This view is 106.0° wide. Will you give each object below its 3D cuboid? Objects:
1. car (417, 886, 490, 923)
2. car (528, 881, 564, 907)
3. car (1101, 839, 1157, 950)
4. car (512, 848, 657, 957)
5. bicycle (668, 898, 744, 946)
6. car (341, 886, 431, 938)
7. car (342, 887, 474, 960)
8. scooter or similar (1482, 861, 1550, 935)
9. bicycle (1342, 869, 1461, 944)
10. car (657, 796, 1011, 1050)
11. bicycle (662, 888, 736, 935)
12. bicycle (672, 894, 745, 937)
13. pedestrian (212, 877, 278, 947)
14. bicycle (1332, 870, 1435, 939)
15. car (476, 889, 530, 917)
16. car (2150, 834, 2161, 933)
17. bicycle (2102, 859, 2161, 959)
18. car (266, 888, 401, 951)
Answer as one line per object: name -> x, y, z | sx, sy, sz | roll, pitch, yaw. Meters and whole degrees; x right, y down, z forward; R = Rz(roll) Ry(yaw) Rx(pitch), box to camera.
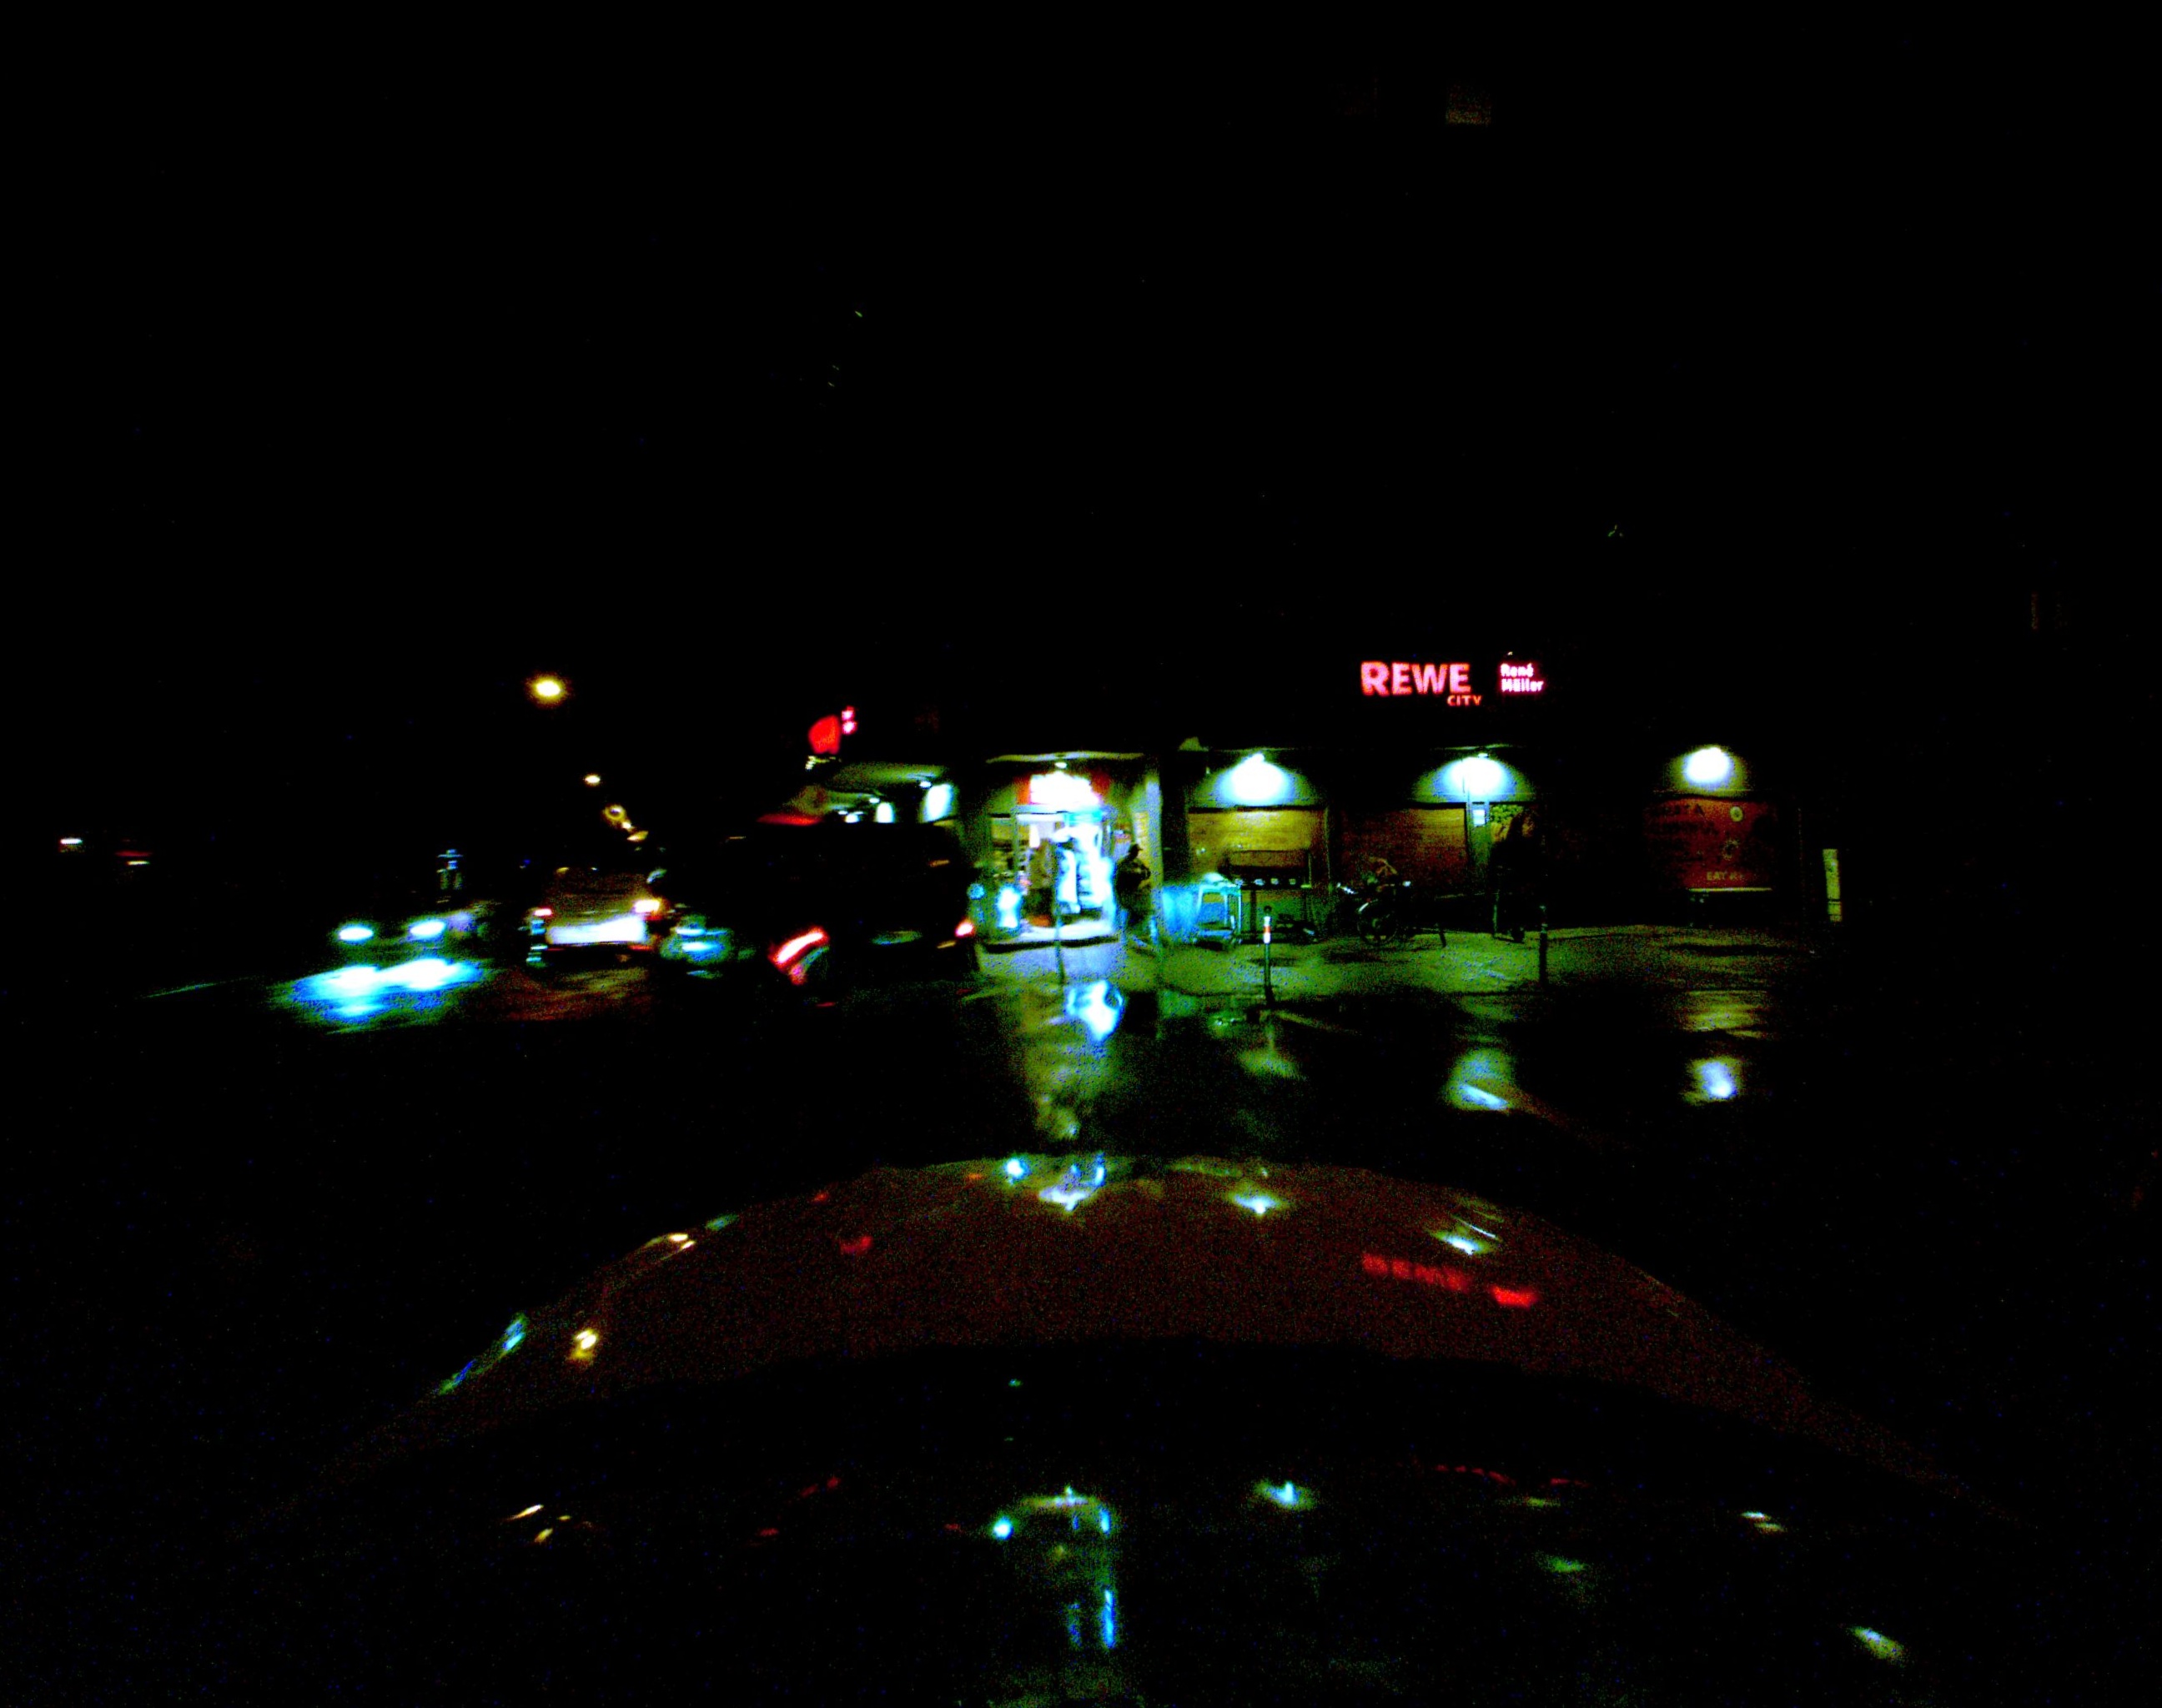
car -> -26.394, 2.071, 34.386 | 1.700, 1.401, 4.277 | 0, -1, -28
car -> -42.344, 3.156, 64.507 | 2.005, 2.014, 3.962 | 1, -3, -29
car -> 0.816, 0.676, 14.063 | 0.871, 1.841, 0.963 | -1, -1, -2
car -> -10.386, 0.909, 16.854 | 2.139, 1.922, 4.772 | 1, -2, -36
bicycle -> -9.928, 1.775, 21.582 | 1.794, 1.125, 0.431 | -1, -1, -31
car -> -22.119, 1.795, 26.034 | 1.595, 1.510, 2.762 | 0, -1, -28
car -> -16.132, 1.586, 19.740 | 1.572, 1.427, 4.033 | -2, 0, -27
scooter or similar -> 7.604, 0.741, 14.296 | 0.523, 1.229, 1.313 | 0, -1, 2
bicycle -> 5.230, 0.850, 13.322 | 1.775, 1.174, 0.384 | -1, -1, -1
car -> -2.932, 0.607, 8.849 | 2.140, 1.991, 4.547 | 0, -2, -39
bicycle -> -10.712, 1.591, 22.851 | 1.773, 1.124, 0.431 | -5, 1, -31
bicycle -> -10.250, 1.676, 22.446 | 1.773, 1.079, 0.431 | -1, -1, -31
pedestrian -> -21.915, 1.498, 21.375 | 0.807, 1.766, 1.008 | 1, -3, -22
bicycle -> 5.262, 0.883, 14.213 | 1.637, 1.174, 0.384 | 0, -4, -1
car -> -32.025, 2.671, 45.218 | 2.005, 1.449, 3.962 | 1, -3, -29
car -> 18.903, 0.424, 11.950 | 1.761, 1.578, 3.658 | 1, -3, -29
bicycle -> 13.487, 0.678, 10.296 | 1.971, 1.177, 0.447 | 1, -3, -31
car -> -19.720, 1.666, 21.682 | 1.595, 1.464, 3.987 | 3, -3, -28
